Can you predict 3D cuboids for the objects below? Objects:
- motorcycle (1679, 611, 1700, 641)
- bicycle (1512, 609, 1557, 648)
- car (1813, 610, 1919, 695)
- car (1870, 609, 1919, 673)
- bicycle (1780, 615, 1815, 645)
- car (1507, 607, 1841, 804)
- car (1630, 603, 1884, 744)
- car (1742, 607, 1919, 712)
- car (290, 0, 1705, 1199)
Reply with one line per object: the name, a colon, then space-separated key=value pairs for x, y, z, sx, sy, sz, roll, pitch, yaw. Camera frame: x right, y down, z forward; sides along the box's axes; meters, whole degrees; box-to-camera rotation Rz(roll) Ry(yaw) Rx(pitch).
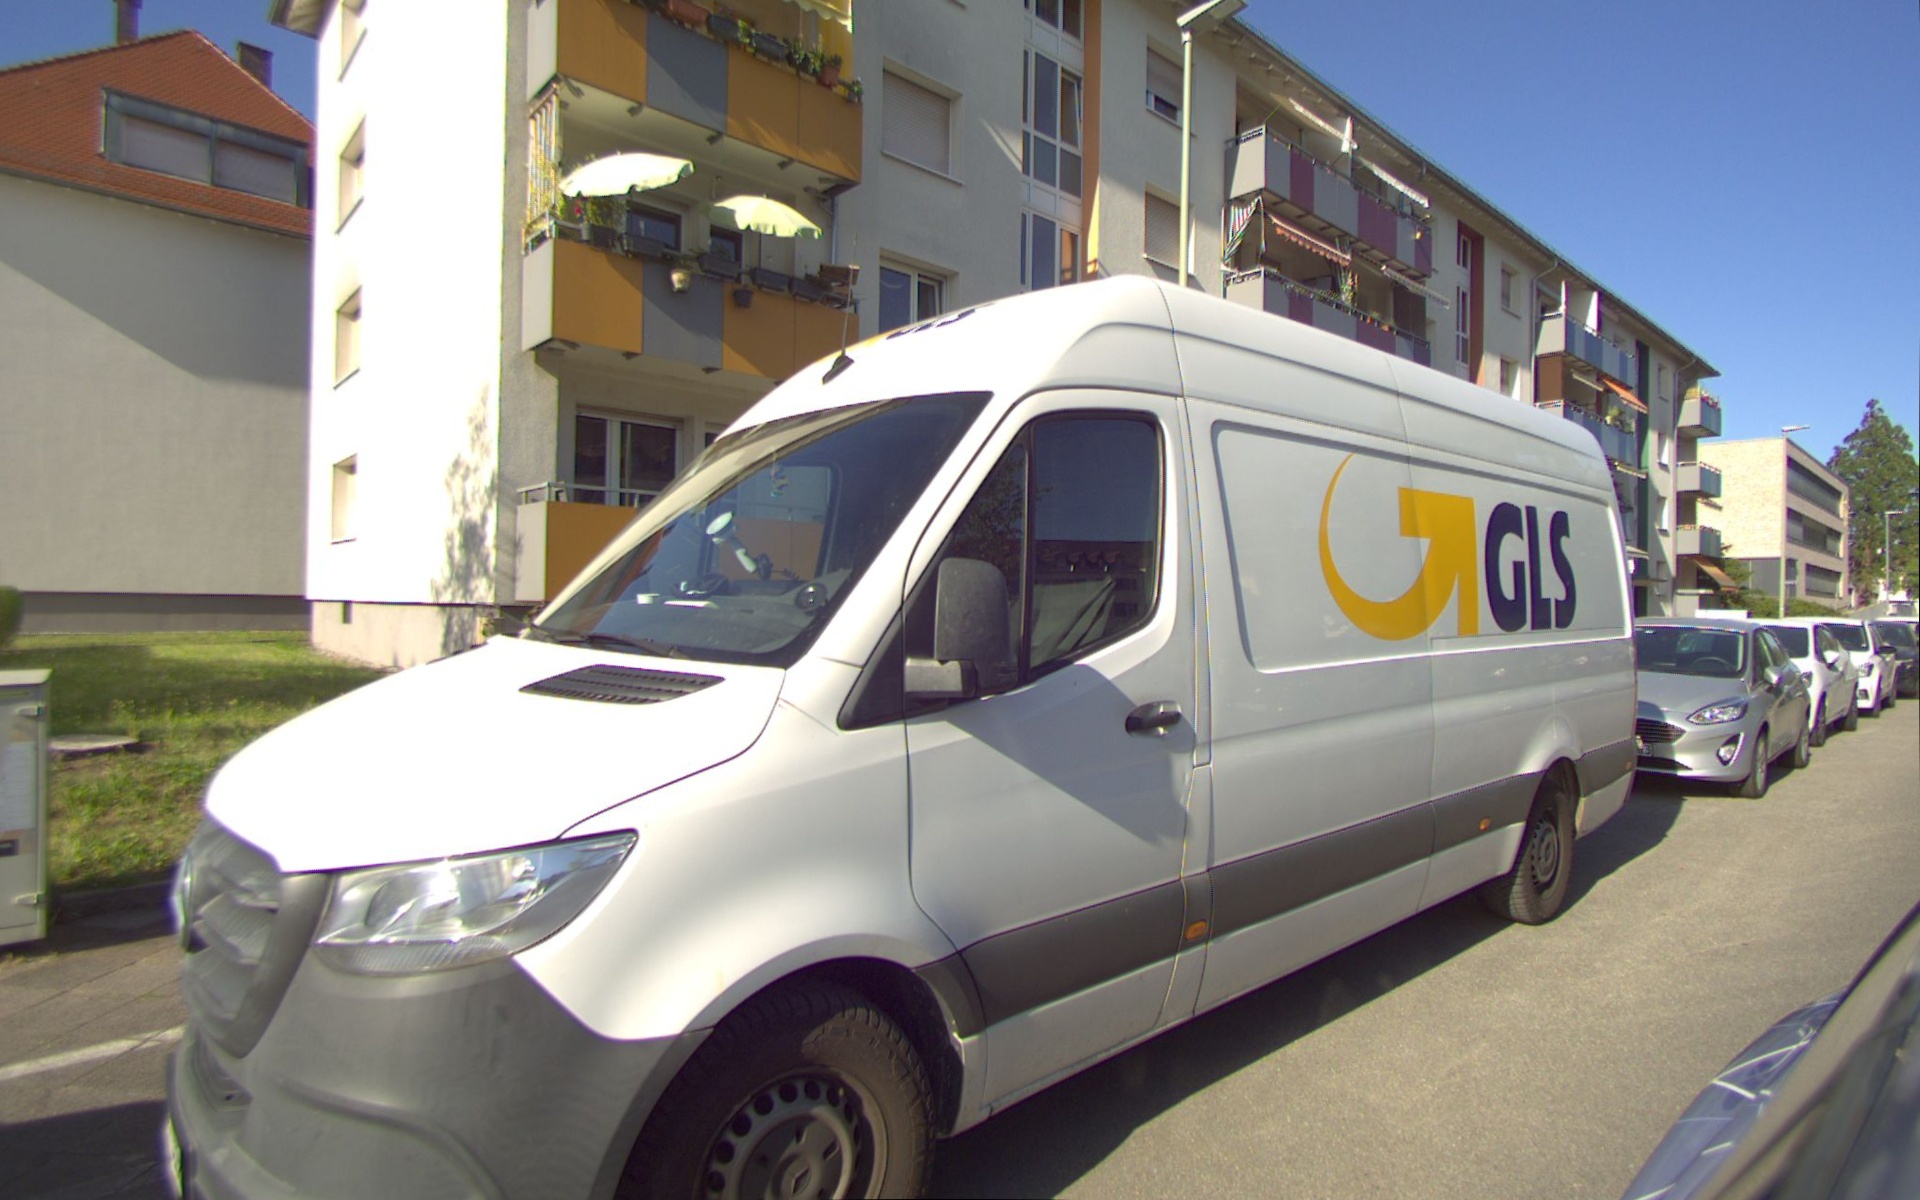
motorcycle: x=29.682 y=1.029 z=41.156 sx=0.581 sy=1.166 sz=2.008 roll=0 pitch=0 yaw=39
bicycle: x=16.771 y=0.809 z=29.520 sx=1.976 sy=1.084 sz=0.524 roll=1 pitch=2 yaw=-43
car: x=18.283 y=0.968 z=19.984 sx=4.396 sy=1.453 sz=1.701 roll=1 pitch=1 yaw=-44
car: x=24.450 y=1.007 z=25.742 sx=1.748 sy=1.518 sz=3.798 roll=1 pitch=0 yaw=45
bicycle: x=32.007 y=1.142 z=38.681 sx=1.863 sy=1.091 sz=0.721 roll=1 pitch=-1 yaw=-41
car: x=7.002 y=0.833 z=9.759 sx=4.131 sy=1.485 sz=1.850 roll=1 pitch=-2 yaw=-43
car: x=10.303 y=0.816 z=12.981 sx=4.068 sy=1.494 sz=1.881 roll=1 pitch=0 yaw=-42
car: x=14.268 y=0.877 z=16.470 sx=4.081 sy=1.454 sz=1.724 roll=1 pitch=0 yaw=-42
car: x=1.124 y=0.140 z=4.600 sx=6.720 sy=2.747 sz=2.147 roll=1 pitch=1 yaw=-41
